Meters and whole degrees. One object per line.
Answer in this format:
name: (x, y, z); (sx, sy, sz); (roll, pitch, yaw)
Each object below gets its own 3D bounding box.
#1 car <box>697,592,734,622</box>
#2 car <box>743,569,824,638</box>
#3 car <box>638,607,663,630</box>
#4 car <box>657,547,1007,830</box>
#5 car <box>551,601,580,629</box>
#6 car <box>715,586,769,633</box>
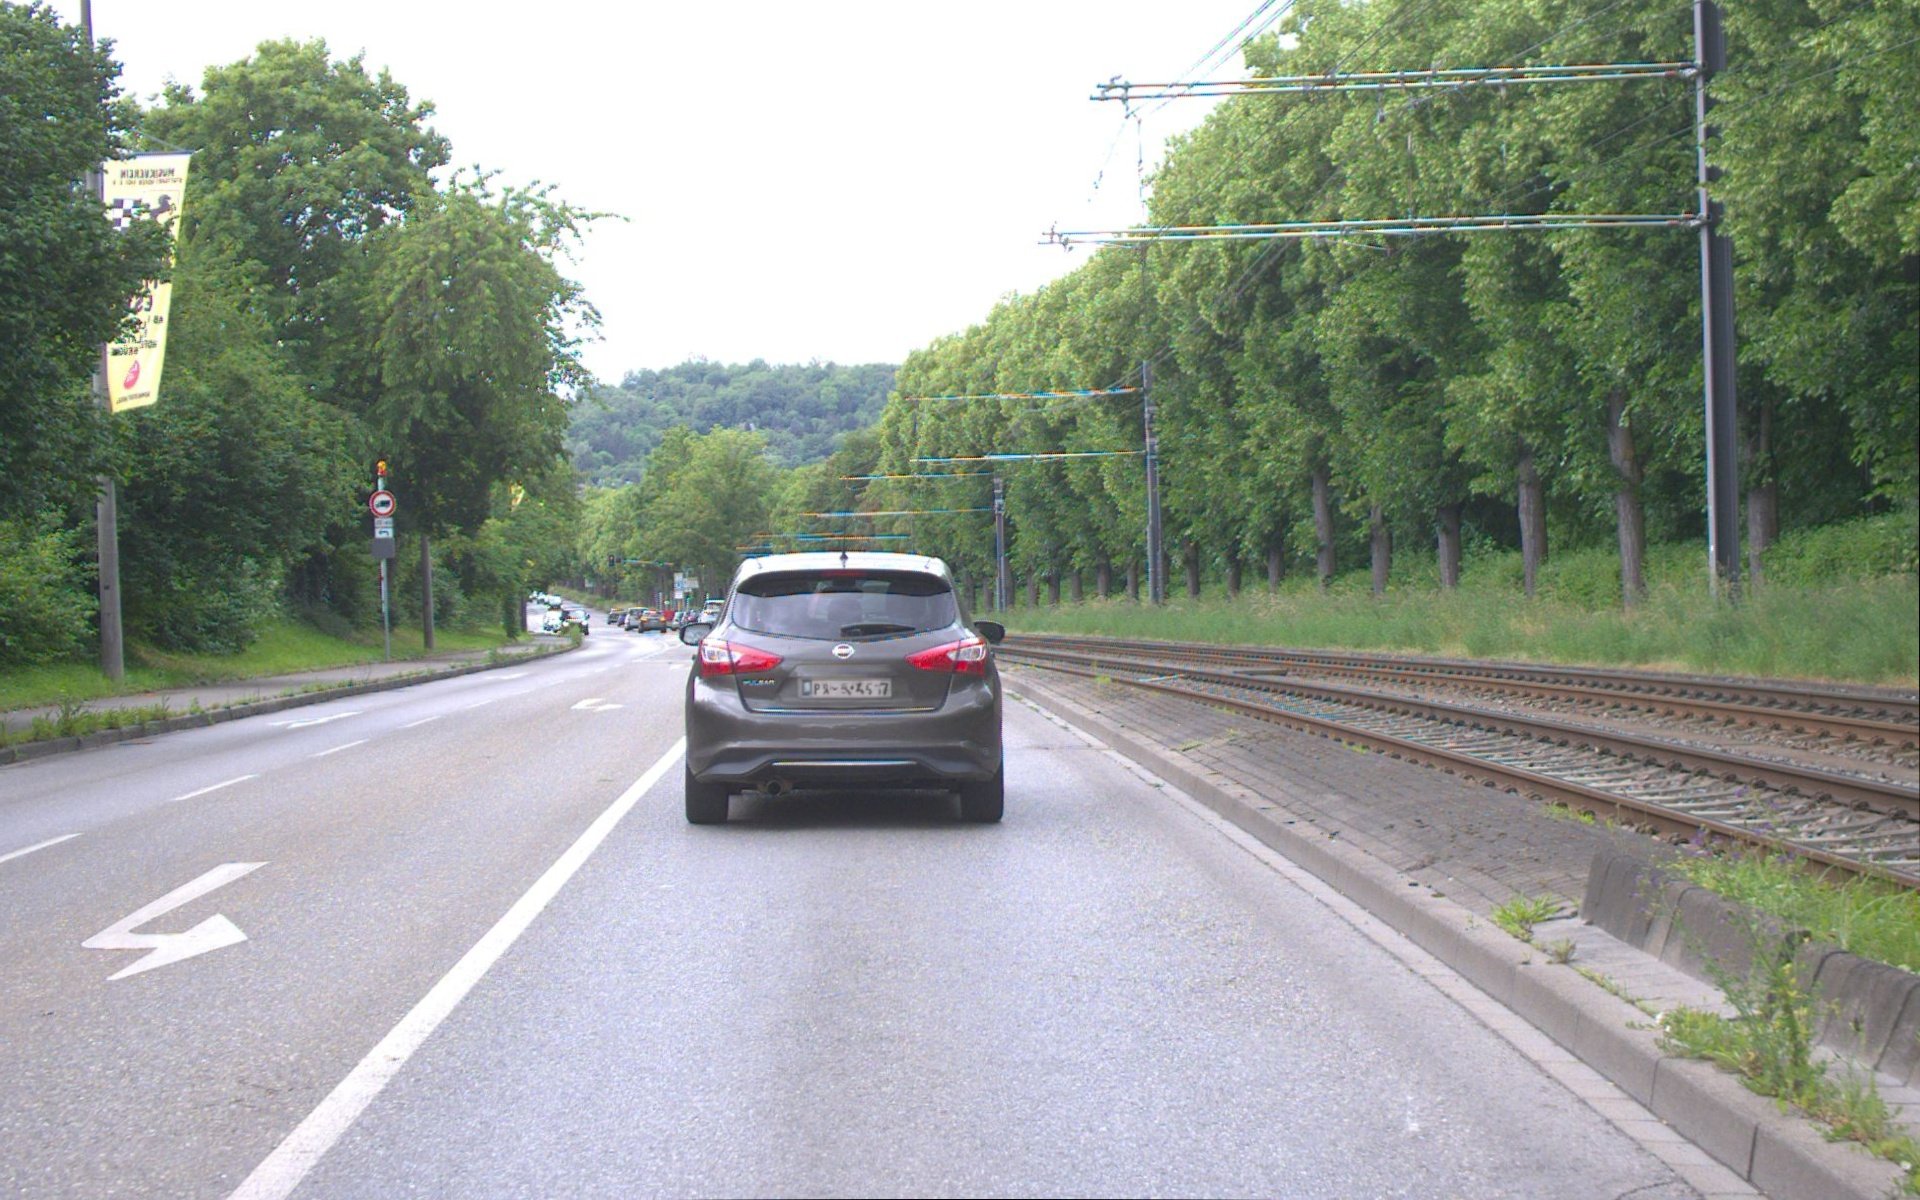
car: (-12.546, 0.363, 176.506); (1.794, 1.505, 4.000); (0, 0, -3)
car: (-3.846, 0.090, 74.696); (1.699, 1.439, 4.000); (0, 0, -3)
car: (-22.650, 1.353, 251.502); (1.699, 1.708, 4.000); (0, 0, -3)
car: (-0.734, 0.453, 20.352); (1.850, 1.488, 4.000); (1, 1, -1)
car: (-29.602, 1.104, 257.958); (1.993, 2.029, 5.116); (-2, 0, -5)
car: (-6.943, 0.311, 109.678); (1.699, 1.439, 4.000); (0, 0, -3)
